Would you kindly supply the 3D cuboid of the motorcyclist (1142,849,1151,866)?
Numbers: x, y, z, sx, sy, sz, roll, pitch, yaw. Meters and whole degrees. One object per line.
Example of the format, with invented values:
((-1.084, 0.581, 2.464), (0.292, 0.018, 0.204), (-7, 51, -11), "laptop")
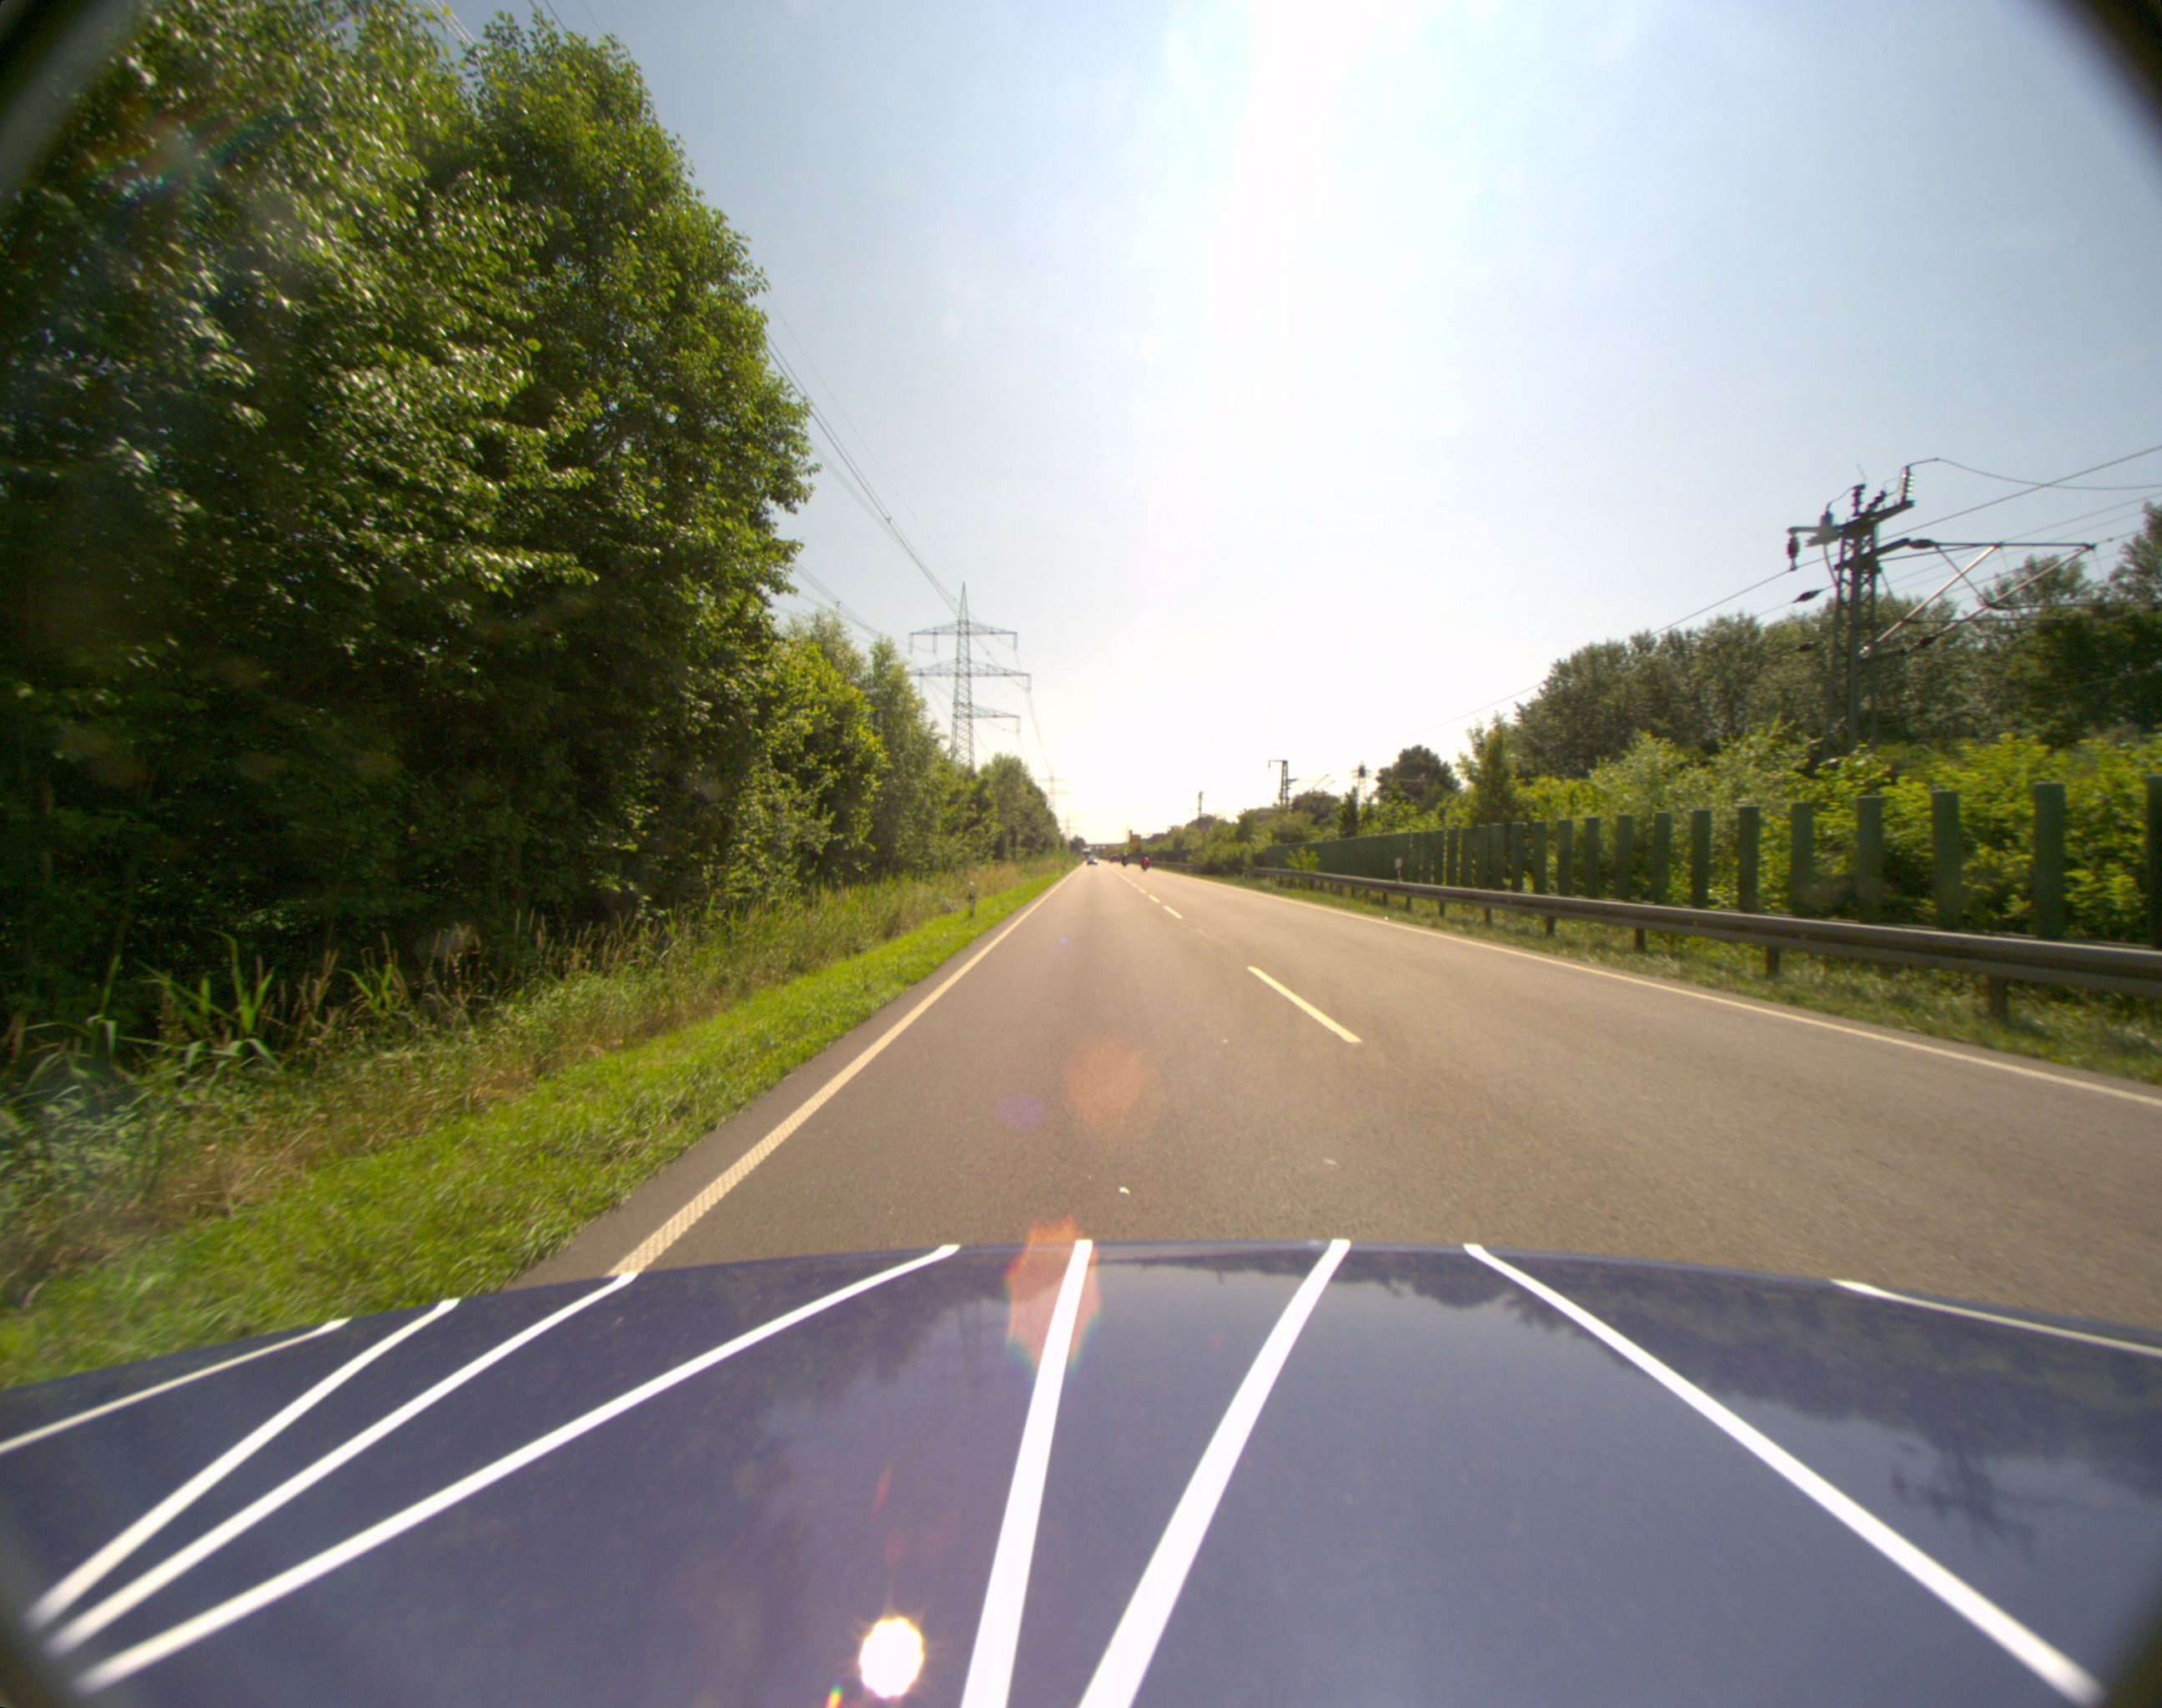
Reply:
((6.056, 0.295, 70.574), (0.760, 1.574, 1.003), (-2, 1, 2), "motorcyclist")

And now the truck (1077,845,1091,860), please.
((0.909, -0.519, 248.257), (4.219, 4.608, 21.303), (-2, 0, 0), "truck")

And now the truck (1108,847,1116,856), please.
((8.896, -0.695, 218.496), (1.998, 2.334, 6.012), (-1, 0, 1), "truck")

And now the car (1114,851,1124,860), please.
((7.769, 0.295, 156.939), (1.819, 1.684, 4.706), (-1, 0, 1), "car")

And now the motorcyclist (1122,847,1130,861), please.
((5.551, 0.009, 94.249), (0.961, 1.600, 1.003), (-2, 1, 2), "motorcyclist")

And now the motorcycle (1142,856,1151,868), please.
((6.057, 0.748, 70.450), (0.756, 1.008, 2.721), (-2, 1, 3), "motorcycle")

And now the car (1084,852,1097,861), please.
((1.464, 0.374, 121.073), (1.998, 1.346, 4.157), (-2, 1, 0), "car")

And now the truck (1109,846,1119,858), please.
((7.515, -0.447, 174.804), (2.085, 2.631, 5.704), (-1, 0, 1), "truck")

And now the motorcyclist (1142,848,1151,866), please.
((6.003, 0.299, 69.639), (0.751, 1.574, 0.863), (-2, 1, 2), "motorcyclist")

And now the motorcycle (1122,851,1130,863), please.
((5.550, 0.374, 93.912), (0.970, 1.487, 2.630), (-2, 1, 3), "motorcycle")
